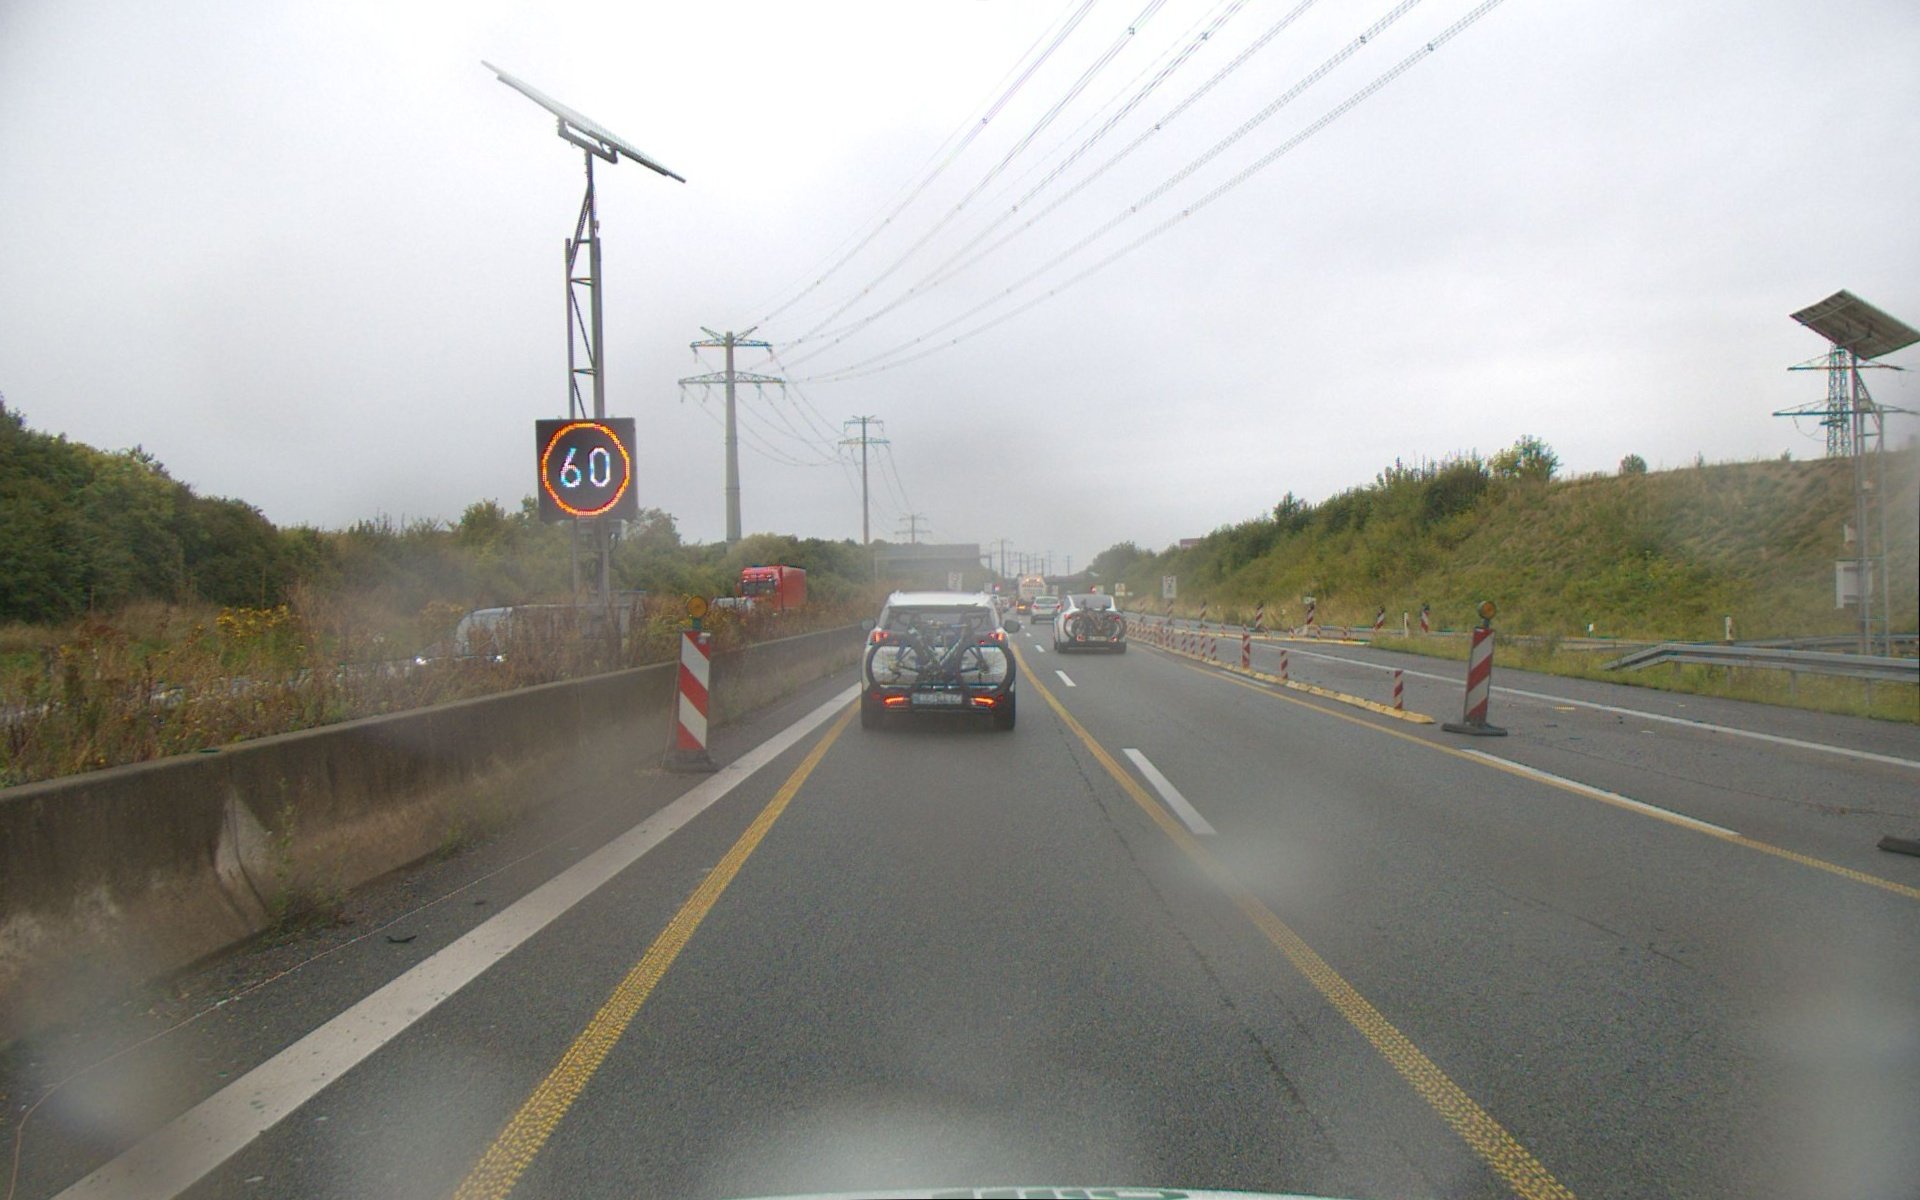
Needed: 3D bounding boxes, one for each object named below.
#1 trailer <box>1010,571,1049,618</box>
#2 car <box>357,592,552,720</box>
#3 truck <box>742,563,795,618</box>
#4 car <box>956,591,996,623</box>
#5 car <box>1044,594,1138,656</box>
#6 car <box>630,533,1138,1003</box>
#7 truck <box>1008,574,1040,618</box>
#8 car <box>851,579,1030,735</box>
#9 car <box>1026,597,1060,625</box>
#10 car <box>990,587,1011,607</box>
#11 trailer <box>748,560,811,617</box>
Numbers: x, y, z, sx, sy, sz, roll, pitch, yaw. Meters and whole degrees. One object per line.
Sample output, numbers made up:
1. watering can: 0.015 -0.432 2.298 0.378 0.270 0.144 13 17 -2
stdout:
1. trailer: 6.057 -0.426 145.483 2.584 3.961 10.538 1 -1 -2
2. car: -8.555 0.906 28.438 1.953 1.993 4.670 1 -1 -1
3. truck: -13.004 -0.620 112.796 2.962 3.593 4.926 1 -1 0
4. car: 0.839 0.355 87.396 1.953 1.611 3.998 0 0 -2
5. car: 3.611 0.669 46.600 2.004 1.624 5.799 1 0 -2
6. car: -0.309 0.646 8.495 1.953 1.791 4.000 -1 0 0
7. truck: 5.841 -0.363 151.964 2.591 3.959 4.028 1 -1 -2
8. car: -0.188 0.600 19.832 1.888 1.639 4.595 0 0 0
9. car: 4.683 0.620 94.125 1.831 1.561 4.197 0 0 1
10. car: 4.329 -0.328 175.902 1.953 2.049 3.998 1 -1 -2
11. trailer: -12.990 -0.733 120.086 2.975 3.881 13.976 1 -1 0
